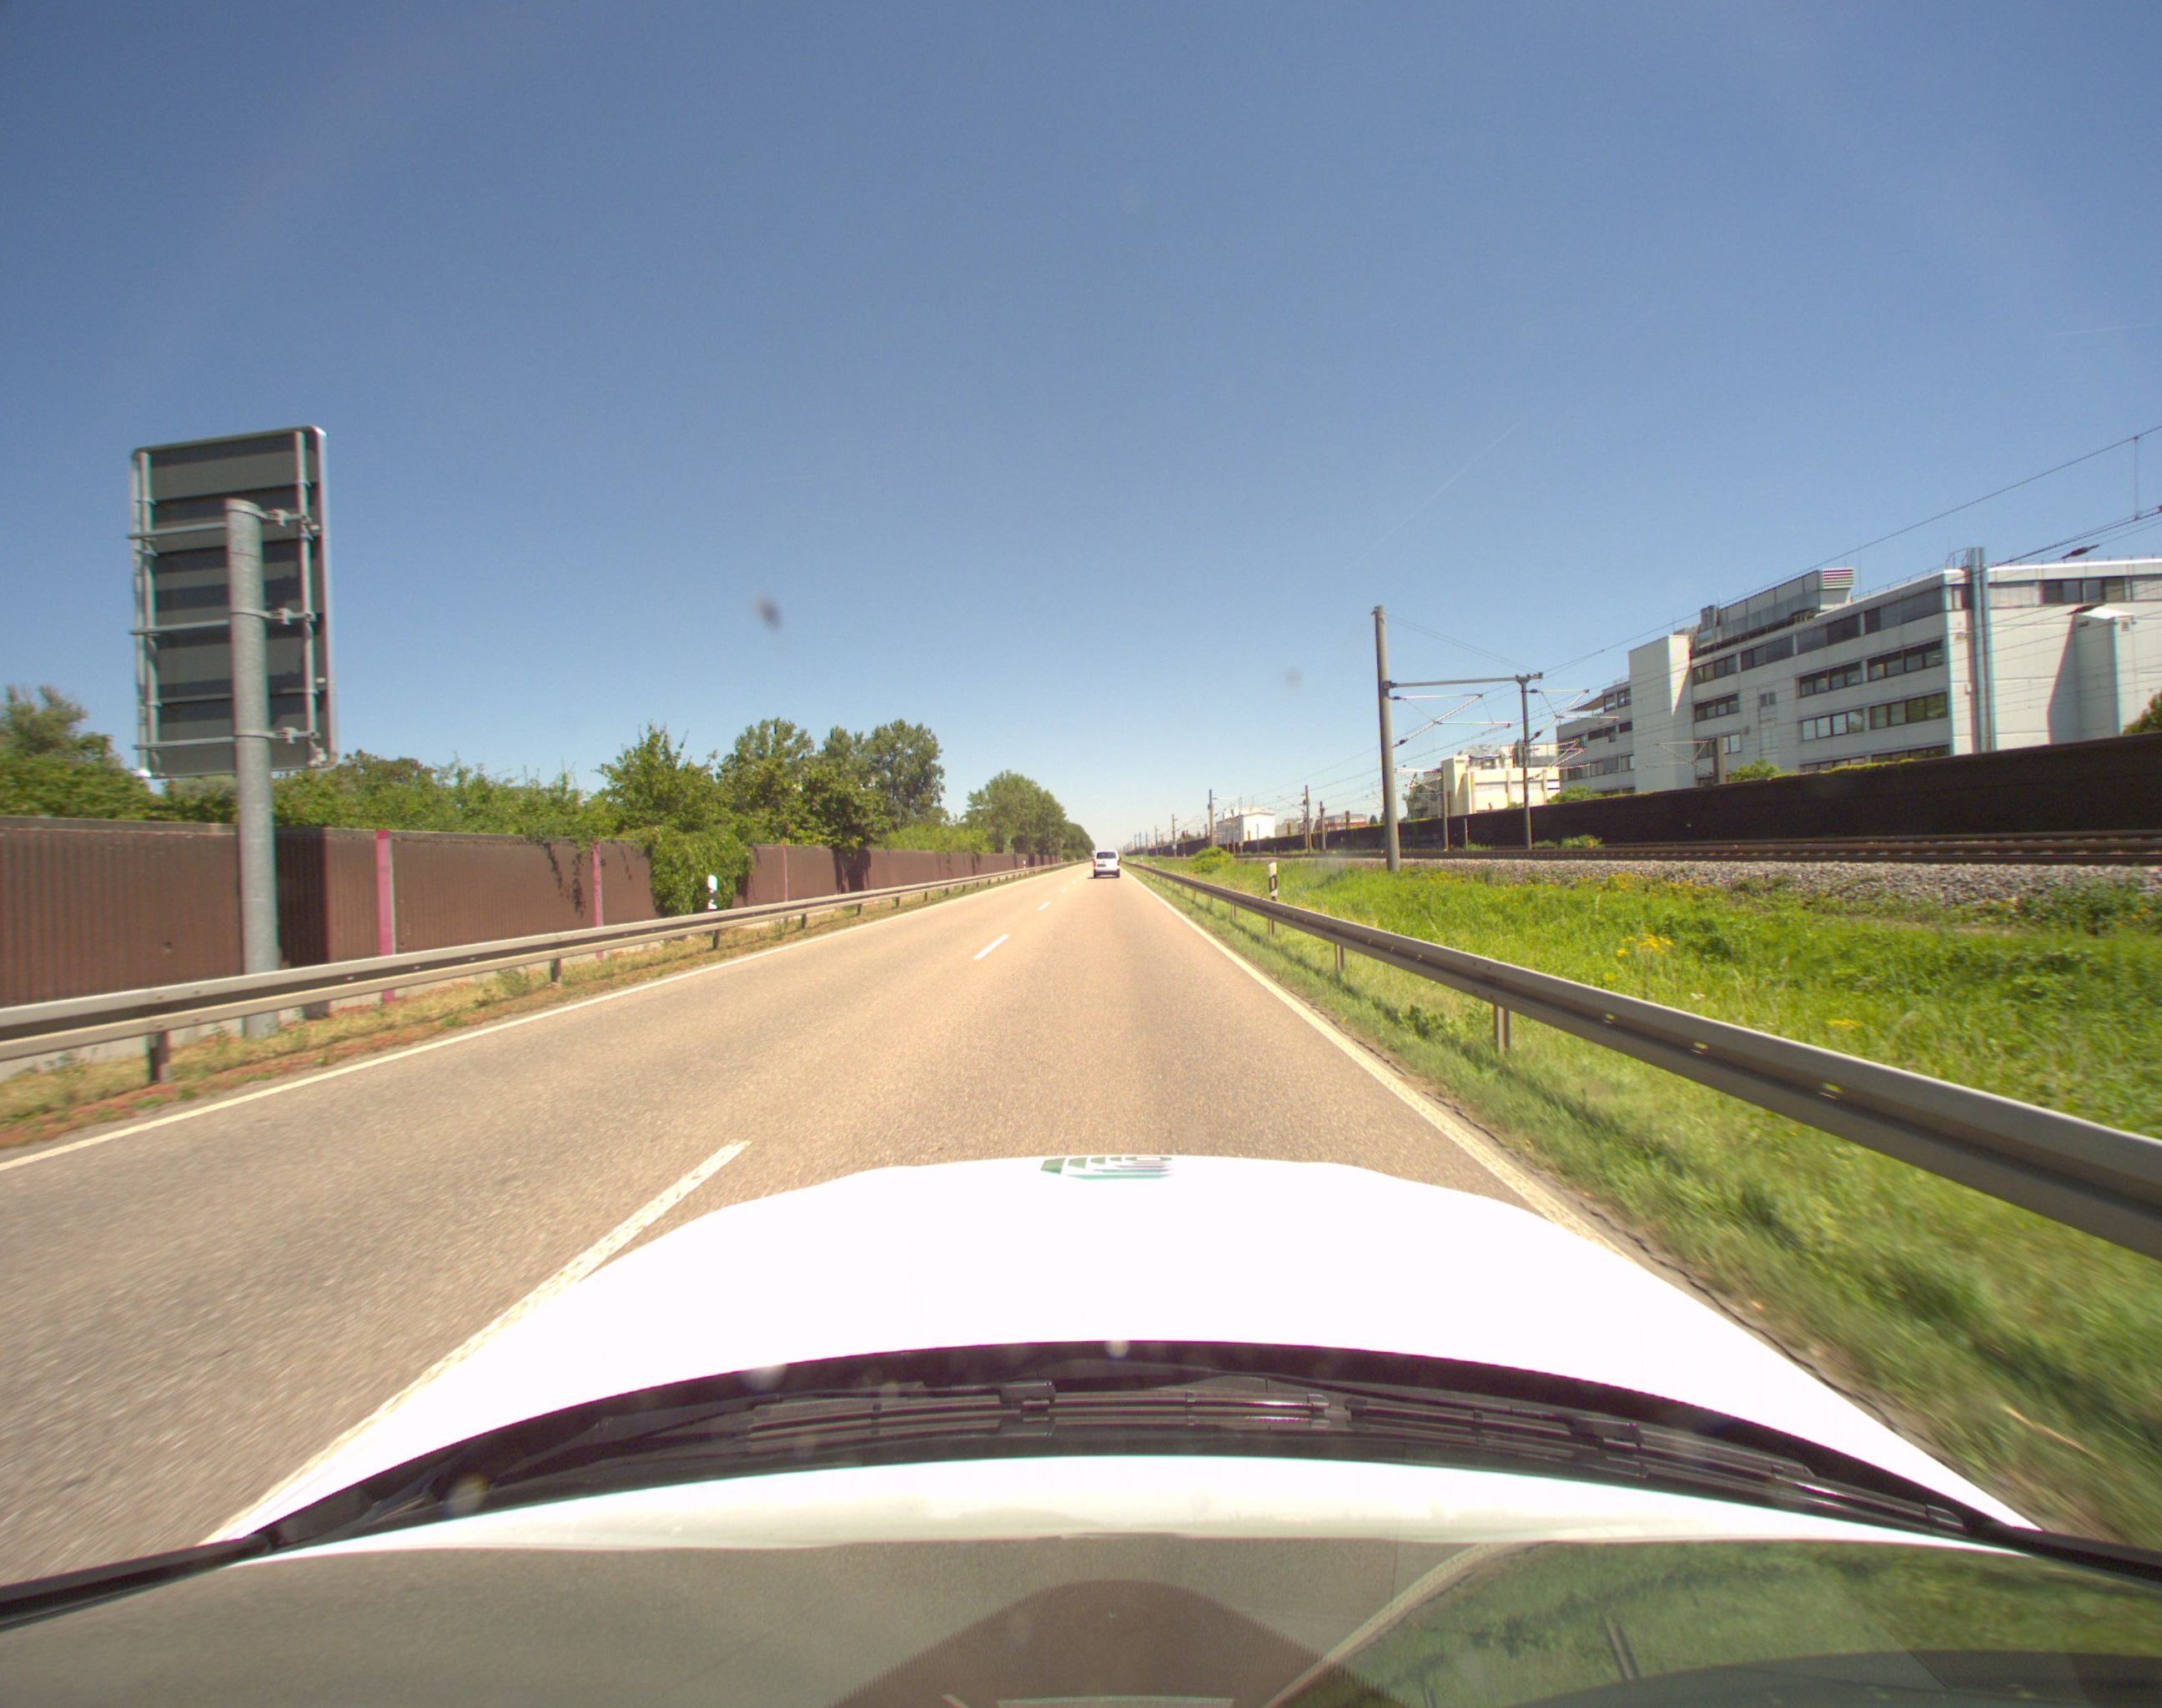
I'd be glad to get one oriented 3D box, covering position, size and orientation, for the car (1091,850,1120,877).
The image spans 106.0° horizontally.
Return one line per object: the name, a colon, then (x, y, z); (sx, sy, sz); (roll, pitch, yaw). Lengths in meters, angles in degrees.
car: (1.760, 0.660, 57.686); (1.986, 1.850, 4.002); (0, 0, 2)
